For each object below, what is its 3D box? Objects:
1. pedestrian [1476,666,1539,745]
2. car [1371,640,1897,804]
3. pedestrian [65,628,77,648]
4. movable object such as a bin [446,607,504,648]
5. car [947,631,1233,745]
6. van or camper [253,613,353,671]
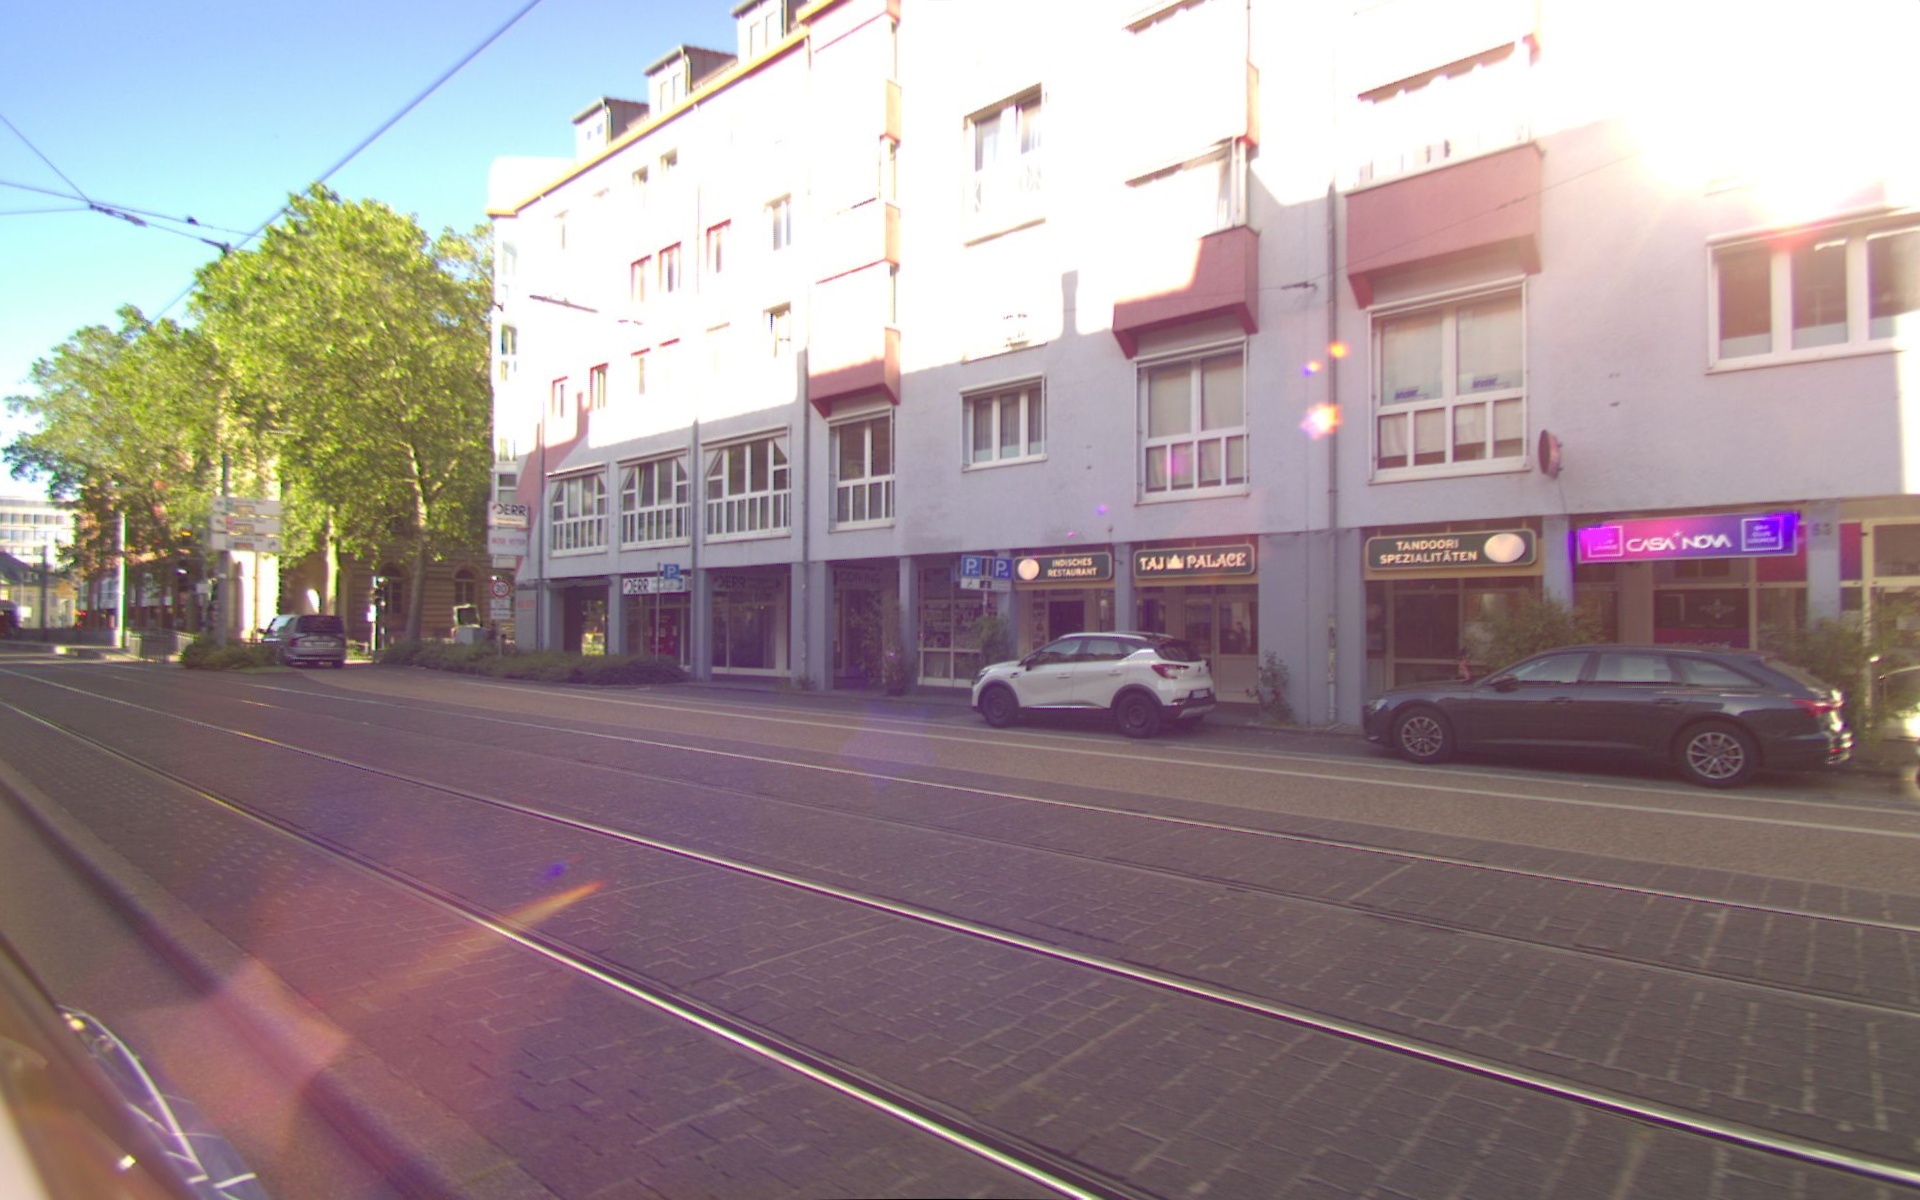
[{"bbox_3d":[8.848,1.689,16.353,0.779,1.196,0.665,-1,-2,40],"label":"pedestrian"},{"bbox_3d":[7.579,1.237,11.820,4.823,1.469,1.882,-1,-2,41],"label":"car"},{"bbox_3d":[-87.113,3.697,99.182,0.665,1.930,0.781,-2,-2,40],"label":"pedestrian"},{"bbox_3d":[-24.822,1.417,51.851,2.604,2.029,1.179,1,-2,-25],"label":"movable object such as a bin"},{"bbox_3d":[2.060,1.334,16.742,4.364,1.626,1.898,-1,-2,39],"label":"car"},{"bbox_3d":[-24.062,1.514,36.985,4.835,1.955,1.971,-1,-4,44],"label":"van or camper"}]
